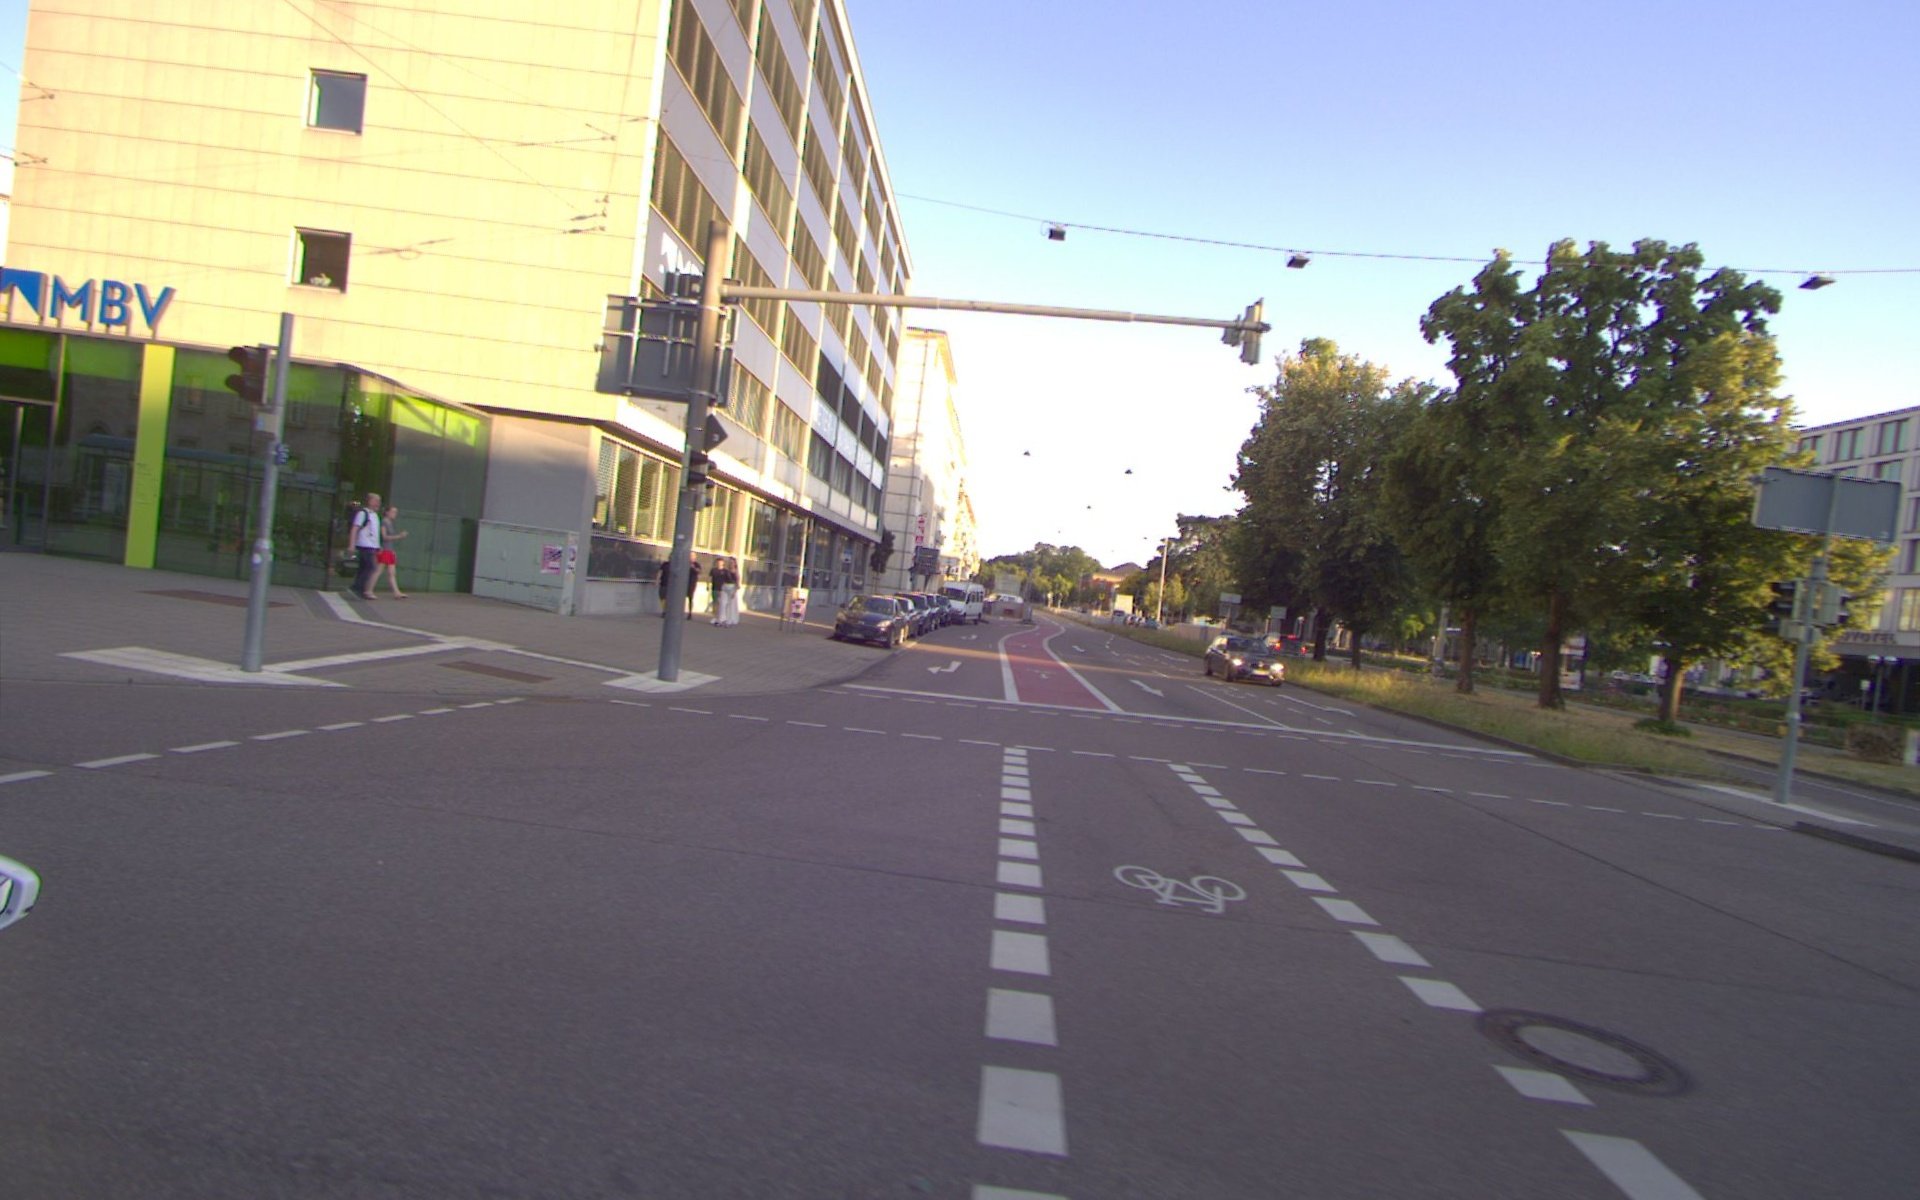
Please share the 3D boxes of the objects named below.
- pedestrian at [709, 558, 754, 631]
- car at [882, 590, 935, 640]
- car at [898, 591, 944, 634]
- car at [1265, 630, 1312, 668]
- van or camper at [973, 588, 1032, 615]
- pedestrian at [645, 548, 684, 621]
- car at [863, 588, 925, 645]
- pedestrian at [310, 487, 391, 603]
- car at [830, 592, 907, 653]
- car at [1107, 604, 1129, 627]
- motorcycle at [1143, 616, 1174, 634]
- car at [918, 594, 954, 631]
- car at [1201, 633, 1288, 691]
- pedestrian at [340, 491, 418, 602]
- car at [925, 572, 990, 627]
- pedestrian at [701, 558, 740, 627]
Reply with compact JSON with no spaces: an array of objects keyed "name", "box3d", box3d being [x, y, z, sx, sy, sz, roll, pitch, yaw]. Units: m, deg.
[{"name":"pedestrian","box3d":[-5.966,-0.139,26.252,0.828,1.790,0.785,7,1,-2]},{"name":"car","box3d":[-2.094,0.591,41.916,1.668,1.684,3.867,11,0,1]},{"name":"car","box3d":[-1.822,0.574,47.790,1.668,1.684,3.867,11,0,1]},{"name":"car","box3d":[17.106,2.526,52.556,1.667,1.624,4.092,11,0,12]},{"name":"van or camper","box3d":[4.368,0.172,102.589,5.459,2.194,2.228,5,1,-28]},{"name":"pedestrian","box3d":[-7.686,-0.403,26.203,0.643,1.790,0.645,7,1,-2]},{"name":"car","box3d":[-2.361,0.566,36.928,1.668,1.684,3.867,11,0,1]},{"name":"pedestrian","box3d":[-10.041,-0.886,16.592,0.721,1.790,0.708,7,1,2]},{"name":"car","box3d":[-2.725,0.642,30.655,1.668,1.428,3.867,11,0,1]},{"name":"car","box3d":[17.962,1.743,114.403,1.854,2.266,3.909,7,1,3]},{"name":"motorcycle","box3d":[23.716,2.972,120.324,3.432,1.777,0.925,7,1,5]},{"name":"car","box3d":[-1.237,0.642,53.561,1.477,1.685,3.867,10,0,1]},{"name":"car","box3d":[9.106,1.939,32.523,1.666,1.439,4.173,7,1,3]},{"name":"pedestrian","box3d":[-9.989,-0.895,17.316,0.733,1.790,0.708,7,1,2]},{"name":"car","box3d":[-0.085,0.061,60.070,2.203,2.659,5.856,13,1,12]},{"name":"pedestrian","box3d":[-6.594,-0.204,27.712,0.728,1.790,0.672,7,1,-2]}]
